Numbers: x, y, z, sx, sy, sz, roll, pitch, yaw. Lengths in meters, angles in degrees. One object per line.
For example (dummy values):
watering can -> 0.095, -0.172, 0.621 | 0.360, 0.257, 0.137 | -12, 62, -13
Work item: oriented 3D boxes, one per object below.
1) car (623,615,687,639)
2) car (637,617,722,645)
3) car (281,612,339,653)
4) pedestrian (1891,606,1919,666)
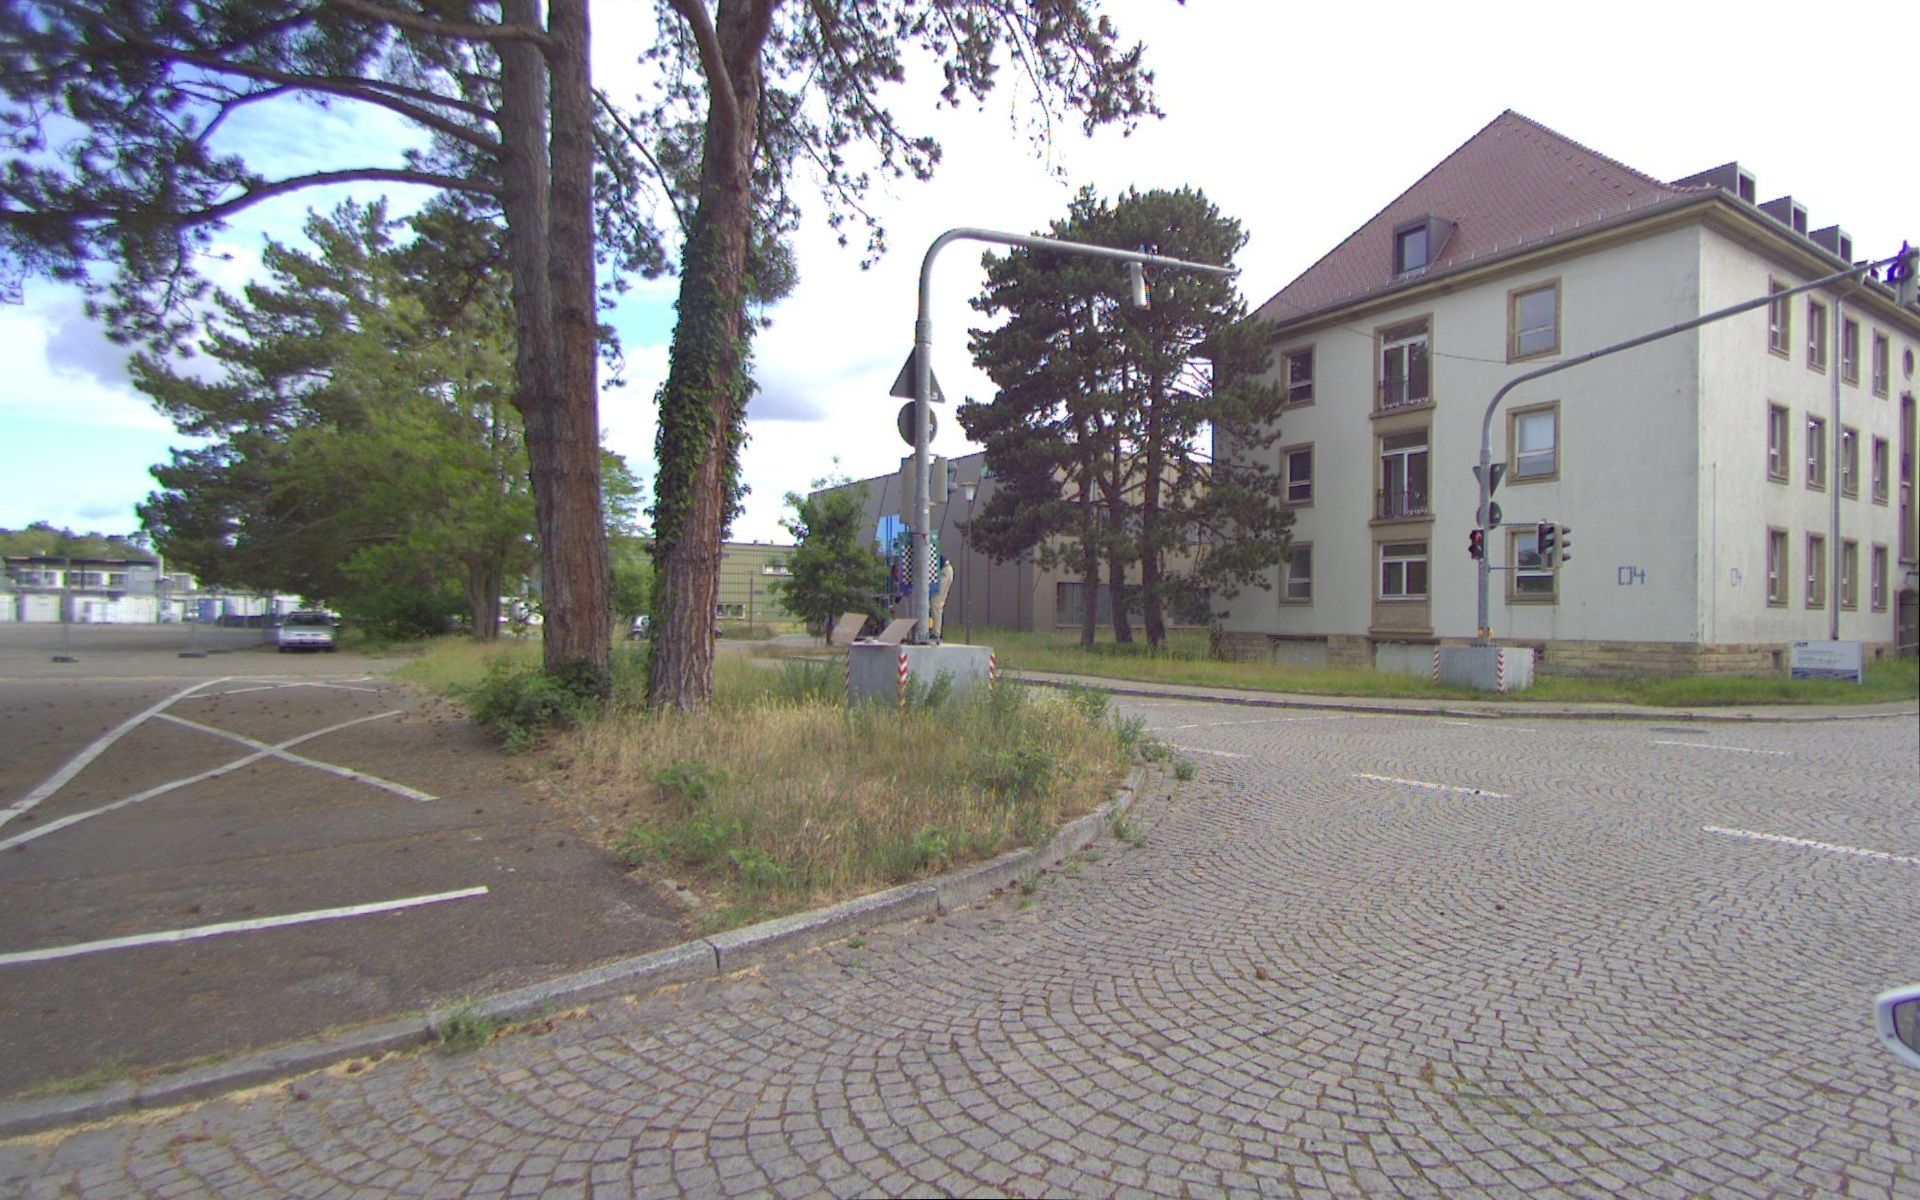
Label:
car -> -19.891, 1.745, 65.416 | 3.618, 1.449, 1.983 | -1, 0, -32
car -> -16.422, 1.796, 58.859 | 4.409, 1.449, 1.983 | -1, 0, -32
car -> -23.655, 1.153, 36.502 | 1.680, 1.410, 3.962 | 1, -1, -34
pedestrian -> 33.155, 1.250, 34.776 | 1.009, 2.040, 1.083 | 1, -1, -27
